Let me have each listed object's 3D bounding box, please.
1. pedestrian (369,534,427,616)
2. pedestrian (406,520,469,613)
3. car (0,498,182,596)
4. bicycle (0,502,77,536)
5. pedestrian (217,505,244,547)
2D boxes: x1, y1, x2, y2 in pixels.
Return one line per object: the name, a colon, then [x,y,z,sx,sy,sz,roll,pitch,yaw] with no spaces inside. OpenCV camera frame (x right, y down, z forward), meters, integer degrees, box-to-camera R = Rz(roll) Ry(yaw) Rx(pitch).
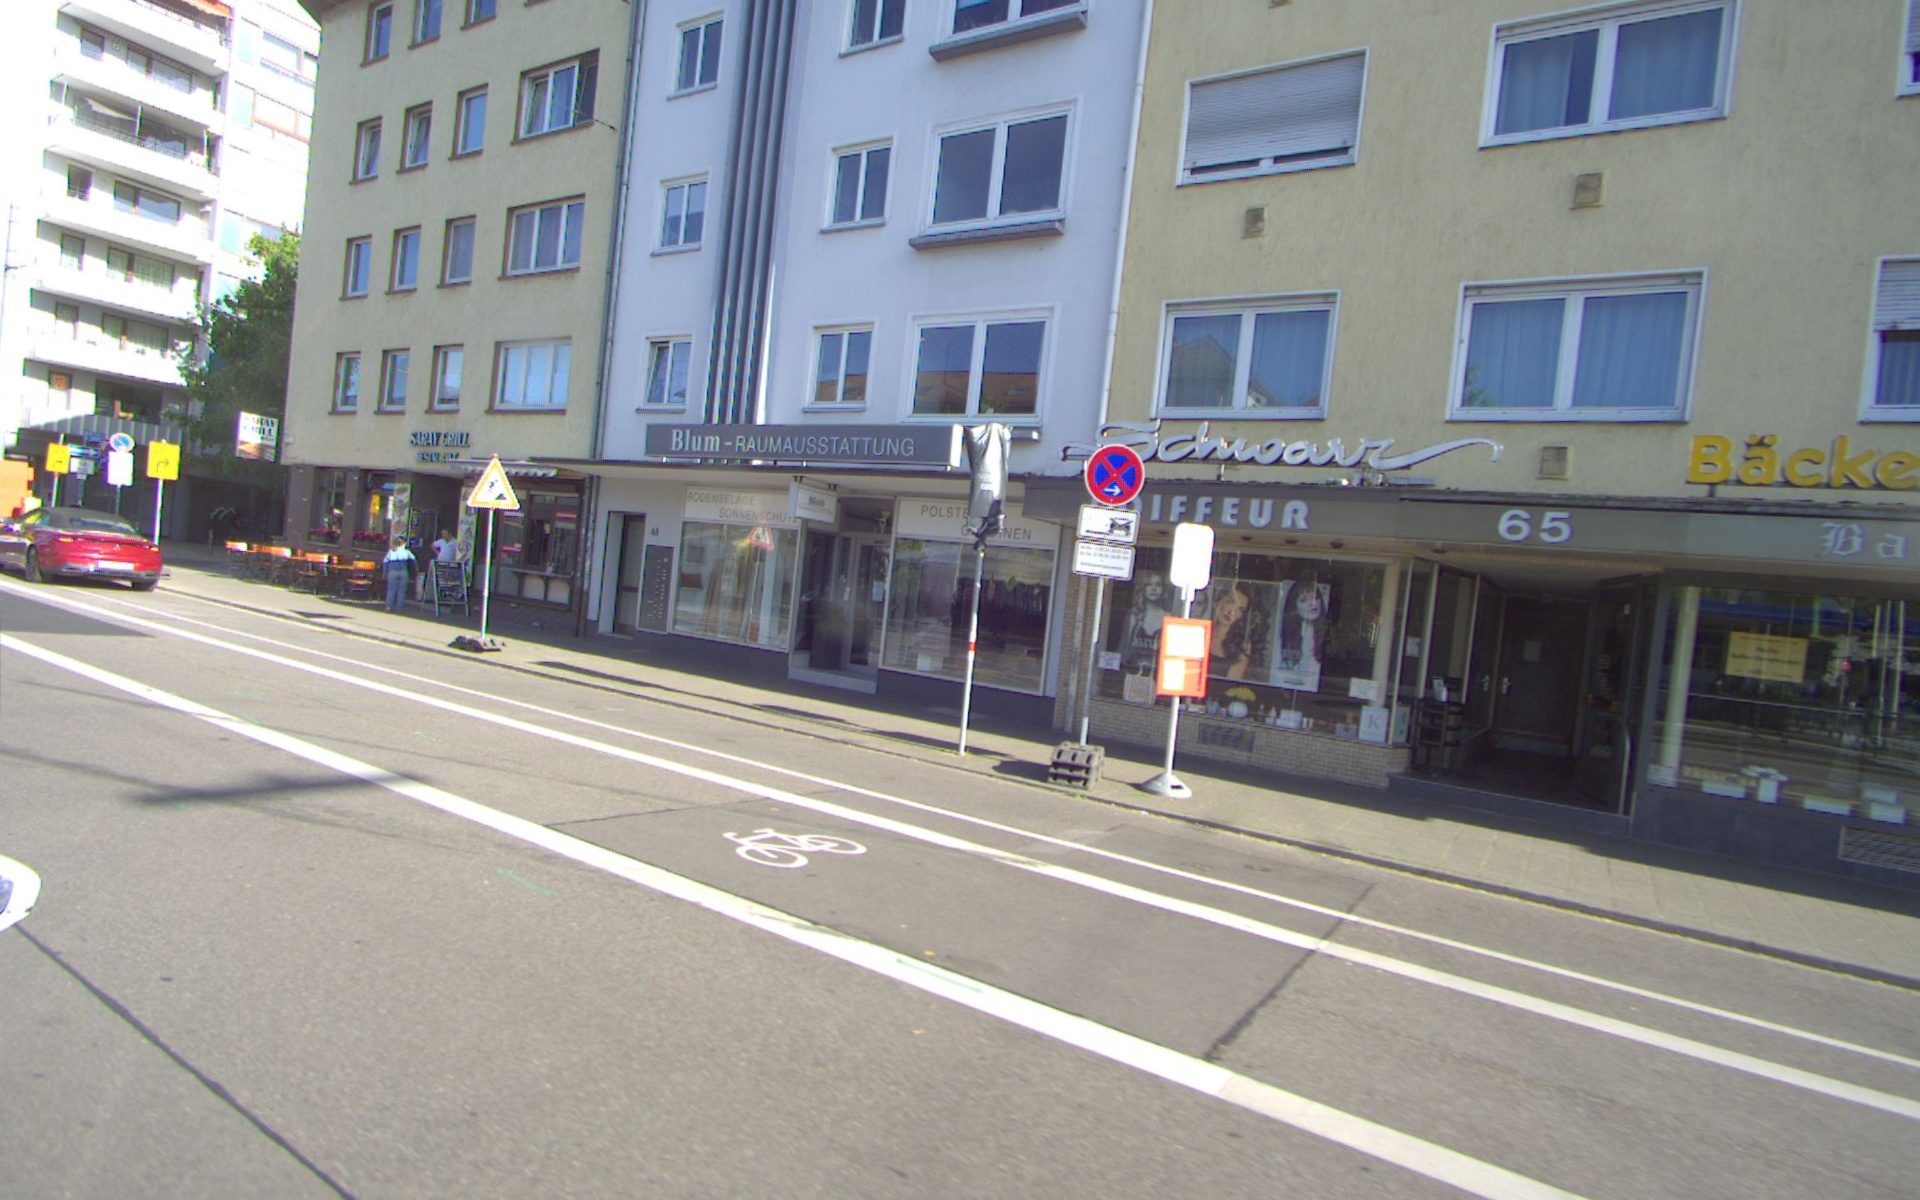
pedestrian: [-11.285,-0.497,20.194,0.641,1.525,0.671,7,1,32]
pedestrian: [-11.228,-0.710,21.616,0.887,1.878,0.729,7,1,35]
car: [-17.594,-1.111,19.886,5.075,1.461,1.873,6,0,33]
bicycle: [-34.651,-3.031,37.849,2.018,0.955,1.006,7,0,-39]
pedestrian: [-35.087,-3.560,48.398,0.667,1.875,0.656,7,-2,34]
